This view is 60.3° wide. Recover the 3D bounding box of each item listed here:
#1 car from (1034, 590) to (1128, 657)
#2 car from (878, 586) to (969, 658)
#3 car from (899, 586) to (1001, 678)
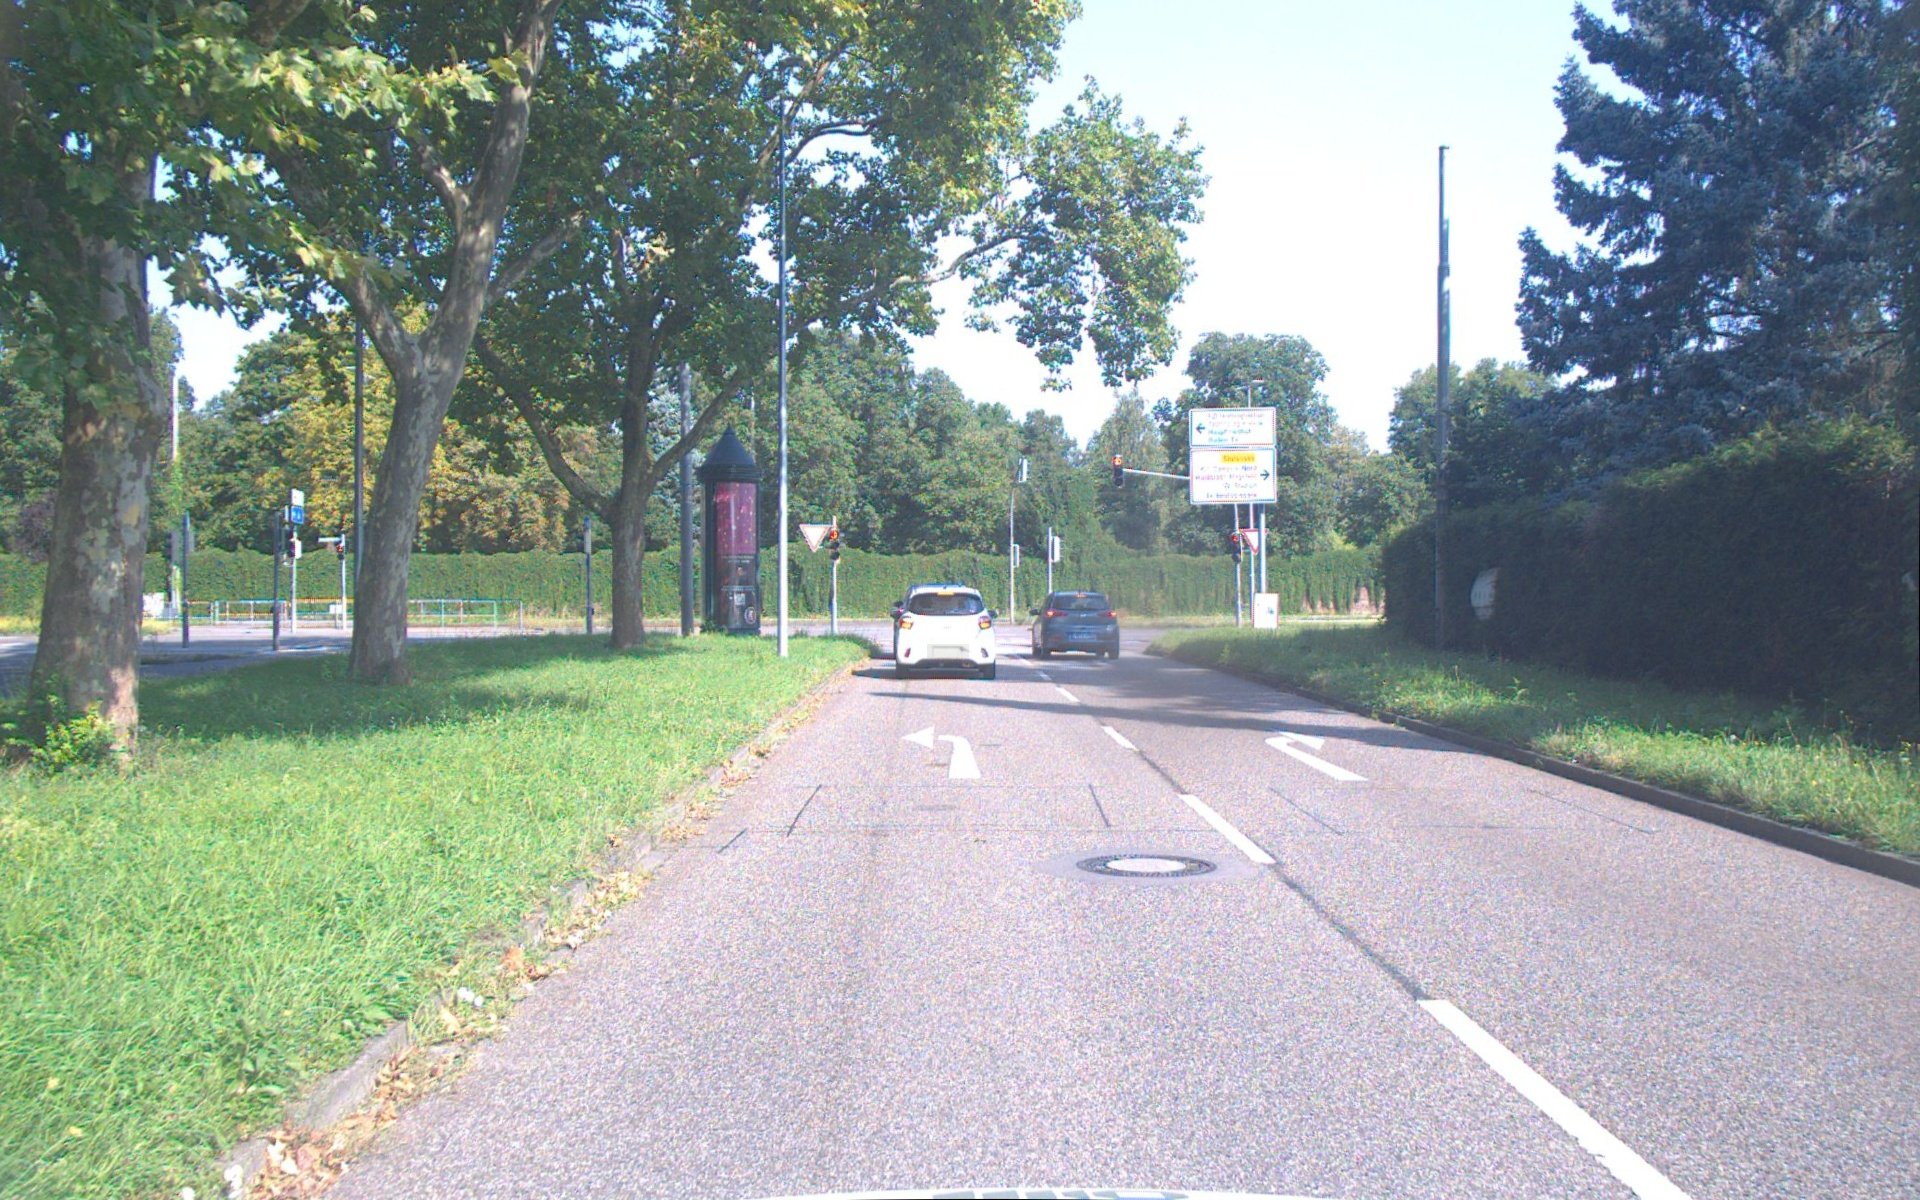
[{"bbox_3d":[2.680,0.492,37.268,1.761,1.425,3.999,0,0,-1],"label":"car"},{"bbox_3d":[-0.749,0.442,36.208,1.652,1.487,3.851,0,0,4],"label":"car"},{"bbox_3d":[-0.142,0.503,28.637,1.653,1.487,4.000,0,0,0],"label":"car"}]
